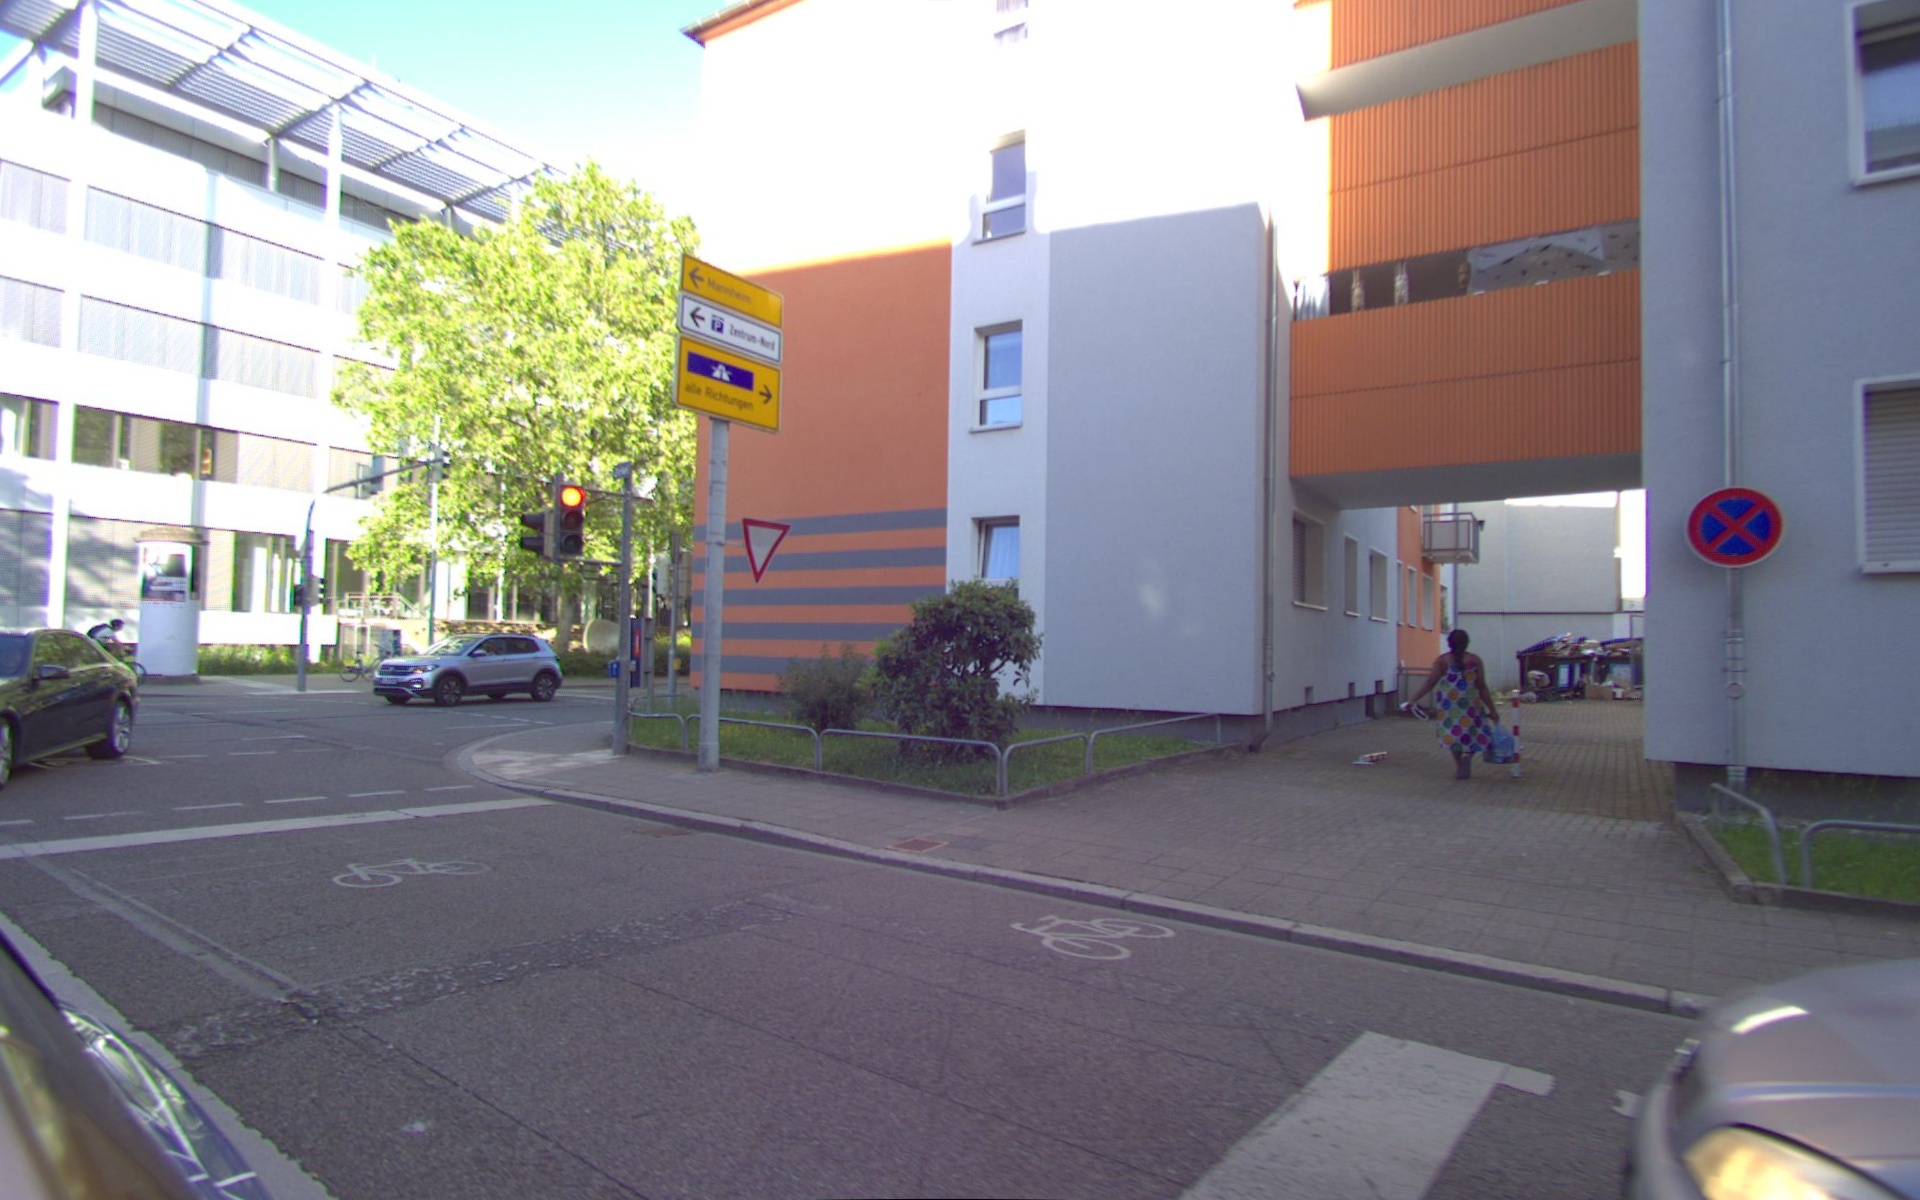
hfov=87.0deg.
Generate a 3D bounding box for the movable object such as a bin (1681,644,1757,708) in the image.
[{"bbox_3d":[18.358,1.826,24.526,1.377,1.482,1.190,-1,-3,34],"label":"movable object such as a bin"}]

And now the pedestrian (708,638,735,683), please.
[{"bbox_3d":[-9.320,2.356,39.554,0.773,1.732,0.685,0,-2,31],"label":"pedestrian"}]

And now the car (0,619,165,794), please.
[{"bbox_3d":[-9.726,0.965,9.777,1.769,1.479,4.734,2,-2,-20],"label":"car"}]

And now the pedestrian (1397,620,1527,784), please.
[{"bbox_3d":[5.233,1.021,10.534,1.077,1.585,1.003,-1,-3,34],"label":"pedestrian"}]

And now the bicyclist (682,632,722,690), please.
[{"bbox_3d":[-8.085,1.895,31.674,0.768,1.746,0.891,-6,-6,31],"label":"bicyclist"}]

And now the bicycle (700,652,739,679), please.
[{"bbox_3d":[-9.667,2.629,40.707,0.520,1.042,1.630,-1,-3,31],"label":"bicycle"}]

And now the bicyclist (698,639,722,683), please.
[{"bbox_3d":[-9.932,2.414,40.174,0.632,1.726,0.648,0,-1,31],"label":"bicyclist"}]

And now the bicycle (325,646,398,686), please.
[{"bbox_3d":[-18.318,2.015,31.008,1.966,1.191,0.470,1,-2,3],"label":"bicycle"}]

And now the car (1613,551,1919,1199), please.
[{"bbox_3d":[3.019,0.720,0.721,4.132,1.497,1.724,-2,-5,39],"label":"car"}]

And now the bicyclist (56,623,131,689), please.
[{"bbox_3d":[-21.542,1.386,25.193,1.106,1.557,0.956,4,-4,-26],"label":"bicyclist"}]

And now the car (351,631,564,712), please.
[{"bbox_3d":[-10.979,1.528,22.406,1.739,1.616,3.964,-1,-3,26],"label":"car"}]
